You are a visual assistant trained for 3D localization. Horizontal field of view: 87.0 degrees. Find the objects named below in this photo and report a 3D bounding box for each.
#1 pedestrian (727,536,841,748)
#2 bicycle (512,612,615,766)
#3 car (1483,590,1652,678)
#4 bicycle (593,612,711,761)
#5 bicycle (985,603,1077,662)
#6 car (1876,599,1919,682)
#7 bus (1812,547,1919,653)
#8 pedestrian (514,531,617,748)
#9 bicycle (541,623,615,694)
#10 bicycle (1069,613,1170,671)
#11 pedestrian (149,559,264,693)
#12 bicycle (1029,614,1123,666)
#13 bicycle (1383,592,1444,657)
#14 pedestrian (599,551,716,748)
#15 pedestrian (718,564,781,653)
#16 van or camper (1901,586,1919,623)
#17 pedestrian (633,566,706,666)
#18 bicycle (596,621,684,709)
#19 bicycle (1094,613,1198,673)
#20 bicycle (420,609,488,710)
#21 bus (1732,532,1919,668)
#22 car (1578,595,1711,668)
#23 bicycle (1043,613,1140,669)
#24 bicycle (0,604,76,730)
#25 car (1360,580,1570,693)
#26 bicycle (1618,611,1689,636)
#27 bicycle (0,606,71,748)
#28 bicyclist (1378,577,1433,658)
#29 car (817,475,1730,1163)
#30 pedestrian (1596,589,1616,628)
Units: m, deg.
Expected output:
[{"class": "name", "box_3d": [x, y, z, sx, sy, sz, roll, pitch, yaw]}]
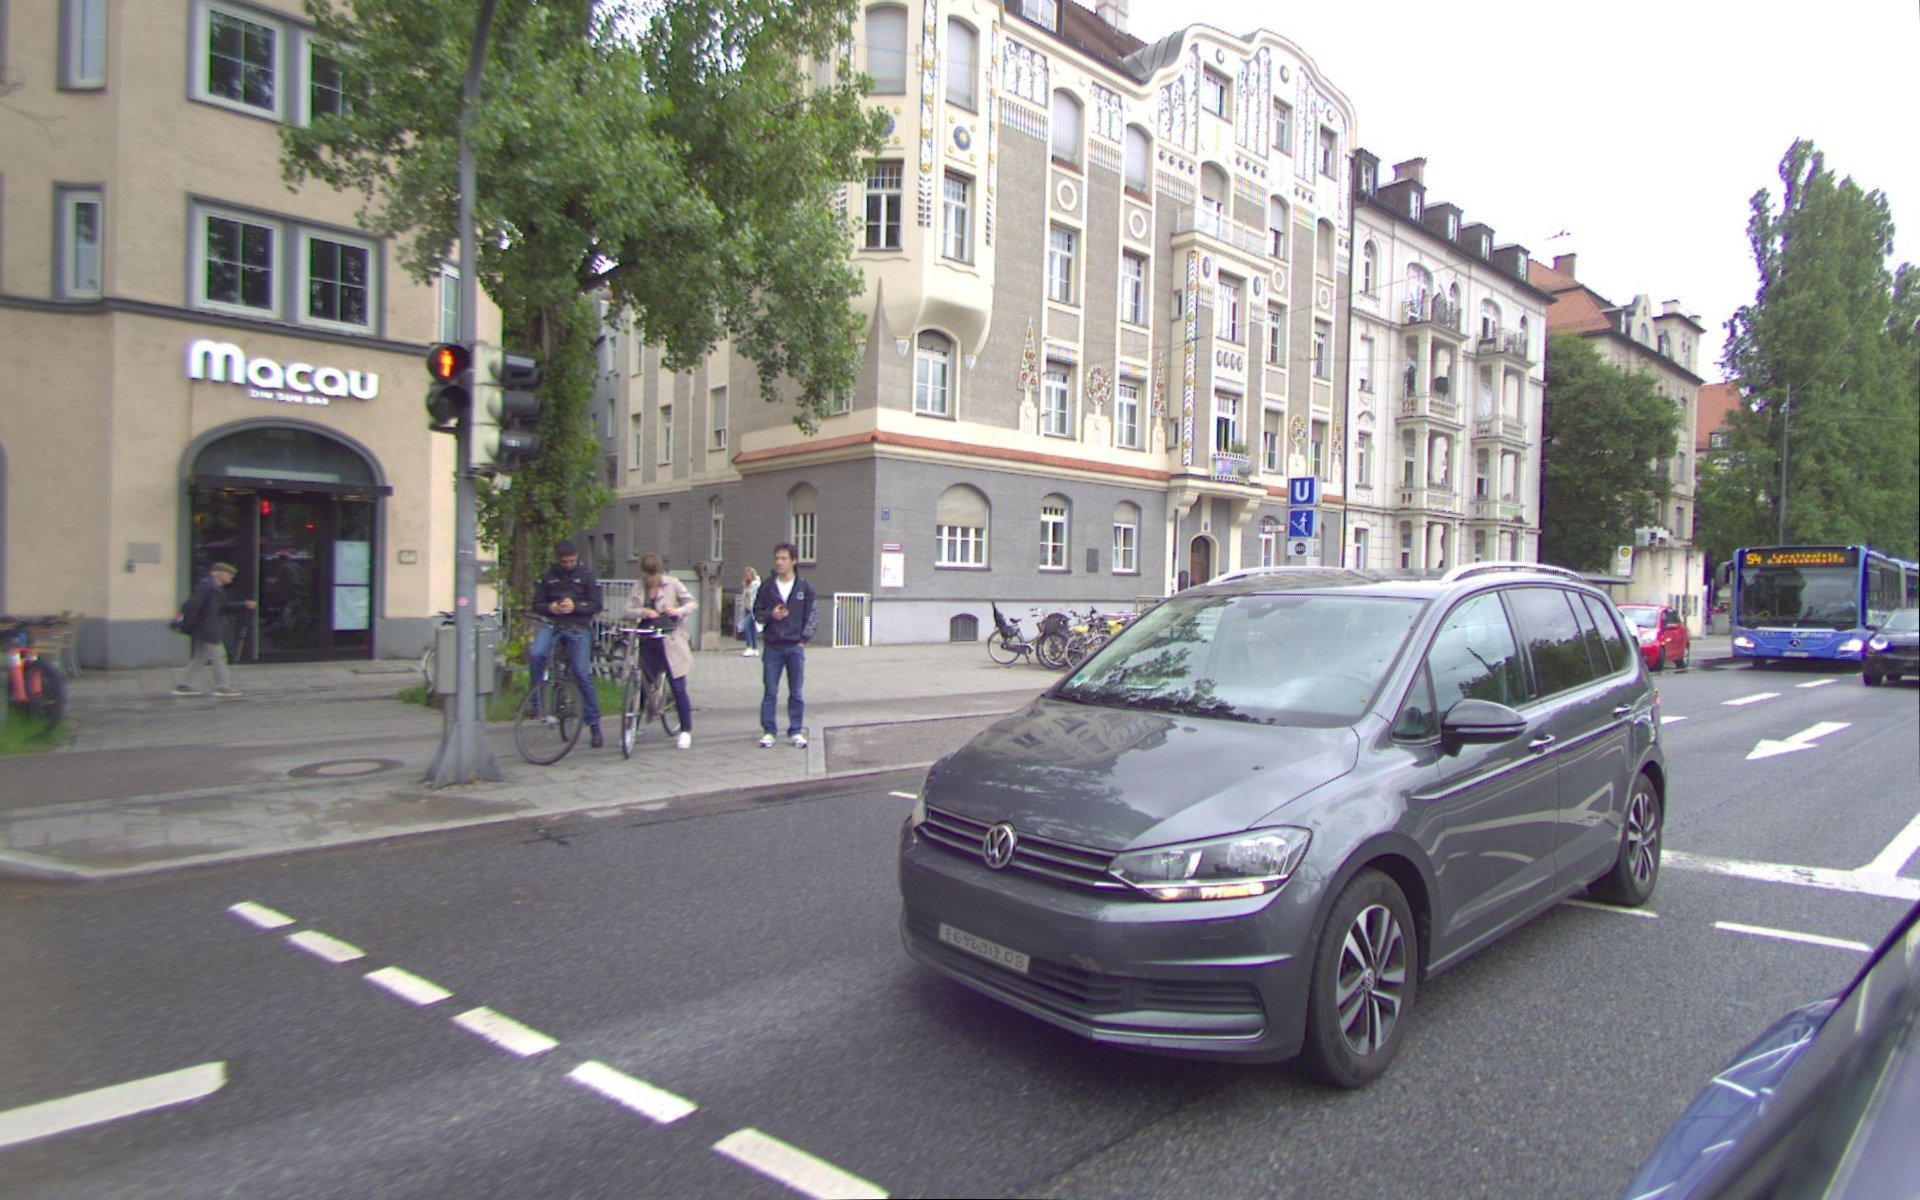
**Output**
[{"class": "pedestrian", "box_3d": [-1.623, 0.362, 9.268, 0.741, 1.824, 0.883, 2, 0, -30]}, {"class": "bicycle", "box_3d": [-3.375, 0.703, 8.733, 0.352, 1.116, 1.747, 1, 1, -6]}, {"class": "car", "box_3d": [12.564, 0.634, 20.862, 3.895, 1.596, 1.730, 0, 2, -39]}, {"class": "bicycle", "box_3d": [-2.676, 0.701, 8.943, 0.353, 1.116, 1.743, 1, 1, 5]}, {"class": "bicycle", "box_3d": [1.474, 0.662, 20.874, 1.855, 1.169, 0.464, 1, 1, 8]}, {"class": "car", "box_3d": [19.147, 0.740, 19.505, 3.901, 1.523, 1.778, 0, 0, -41]}, {"class": "bus", "box_3d": [29.749, 0.025, 32.241, 8.383, 3.012, 2.635, 0, -1, -41]}, {"class": "pedestrian", "box_3d": [-3.408, 0.330, 8.802, 0.638, 1.803, 0.702, 1, 0, -7]}, {"class": "bicycle", "box_3d": [-5.129, 0.754, 13.549, 0.385, 0.845, 1.574, 0, 1, -42]}, {"class": "bicycle", "box_3d": [2.942, 0.767, 18.710, 1.801, 1.036, 0.447, 0, 1, -14]}, {"class": "pedestrian", "box_3d": [-9.485, 0.308, 12.766, 0.808, 1.622, 0.849, 1, 1, 3]}, {"class": "bicycle", "box_3d": [2.258, 0.771, 19.710, 1.801, 0.990, 0.393, 0, 1, -14]}, {"class": "bicycle", "box_3d": [9.537, 0.495, 21.247, 1.747, 1.304, 0.424, 0, 1, -40]}, {"class": "pedestrian", "box_3d": [-2.669, 0.420, 8.991, 0.743, 1.658, 0.700, 1, 0, 7]}, {"class": "pedestrian", "box_3d": [-4.269, 0.160, 20.556, 0.999, 1.735, 0.747, 0, 1, -40]}, {"class": "van or camper", "box_3d": [57.198, 0.296, 59.557, 5.419, 2.125, 2.122, 0, 1, -42]}, {"class": "pedestrian", "box_3d": [-5.132, 0.268, 17.868, 0.999, 1.706, 0.747, 0, 1, -40]}, {"class": "bicycle", "box_3d": [-3.888, 0.751, 12.218, 0.385, 0.928, 1.838, 0, 1, -38]}, {"class": "bicycle", "box_3d": [3.347, 0.765, 18.223, 1.801, 1.036, 0.447, 0, 1, -14]}, {"class": "bicycle", "box_3d": [-5.876, 0.649, 11.720, 0.385, 1.063, 1.575, 0, 1, -39]}, {"class": "bus", "box_3d": [23.063, 0.024, 26.489, 9.299, 3.012, 2.635, 0, -1, -41]}, {"class": "car", "box_3d": [16.269, 0.694, 23.995, 3.678, 1.527, 1.729, 0, 2, -42]}, {"class": "bicycle", "box_3d": [2.504, 0.769, 19.222, 1.801, 1.036, 0.393, 0, 1, -14]}, {"class": "bicycle", "box_3d": [-9.256, 0.624, 10.183, 0.439, 1.123, 1.802, 1, 1, -38]}, {"class": "car", "box_3d": [8.915, 0.564, 17.693, 4.424, 1.681, 1.736, 0, 2, -42]}, {"class": "bicycle", "box_3d": [28.454, 0.963, 41.560, 0.590, 0.933, 2.319, 0, 0, -43]}, {"class": "bicycle", "box_3d": [-8.087, 0.618, 8.788, 0.439, 1.124, 1.801, 1, -1, -38]}, {"class": "bicyclist", "box_3d": [9.258, 0.353, 21.026, 0.923, 1.623, 0.681, 0, 1, -40]}, {"class": "car", "box_3d": [1.789, 0.530, 4.631, 4.624, 1.668, 1.775, 0, 0, -40]}, {"class": "pedestrian", "box_3d": [32.684, 0.420, 51.184, 0.661, 1.919, 0.609, 1, 1, -38]}]
